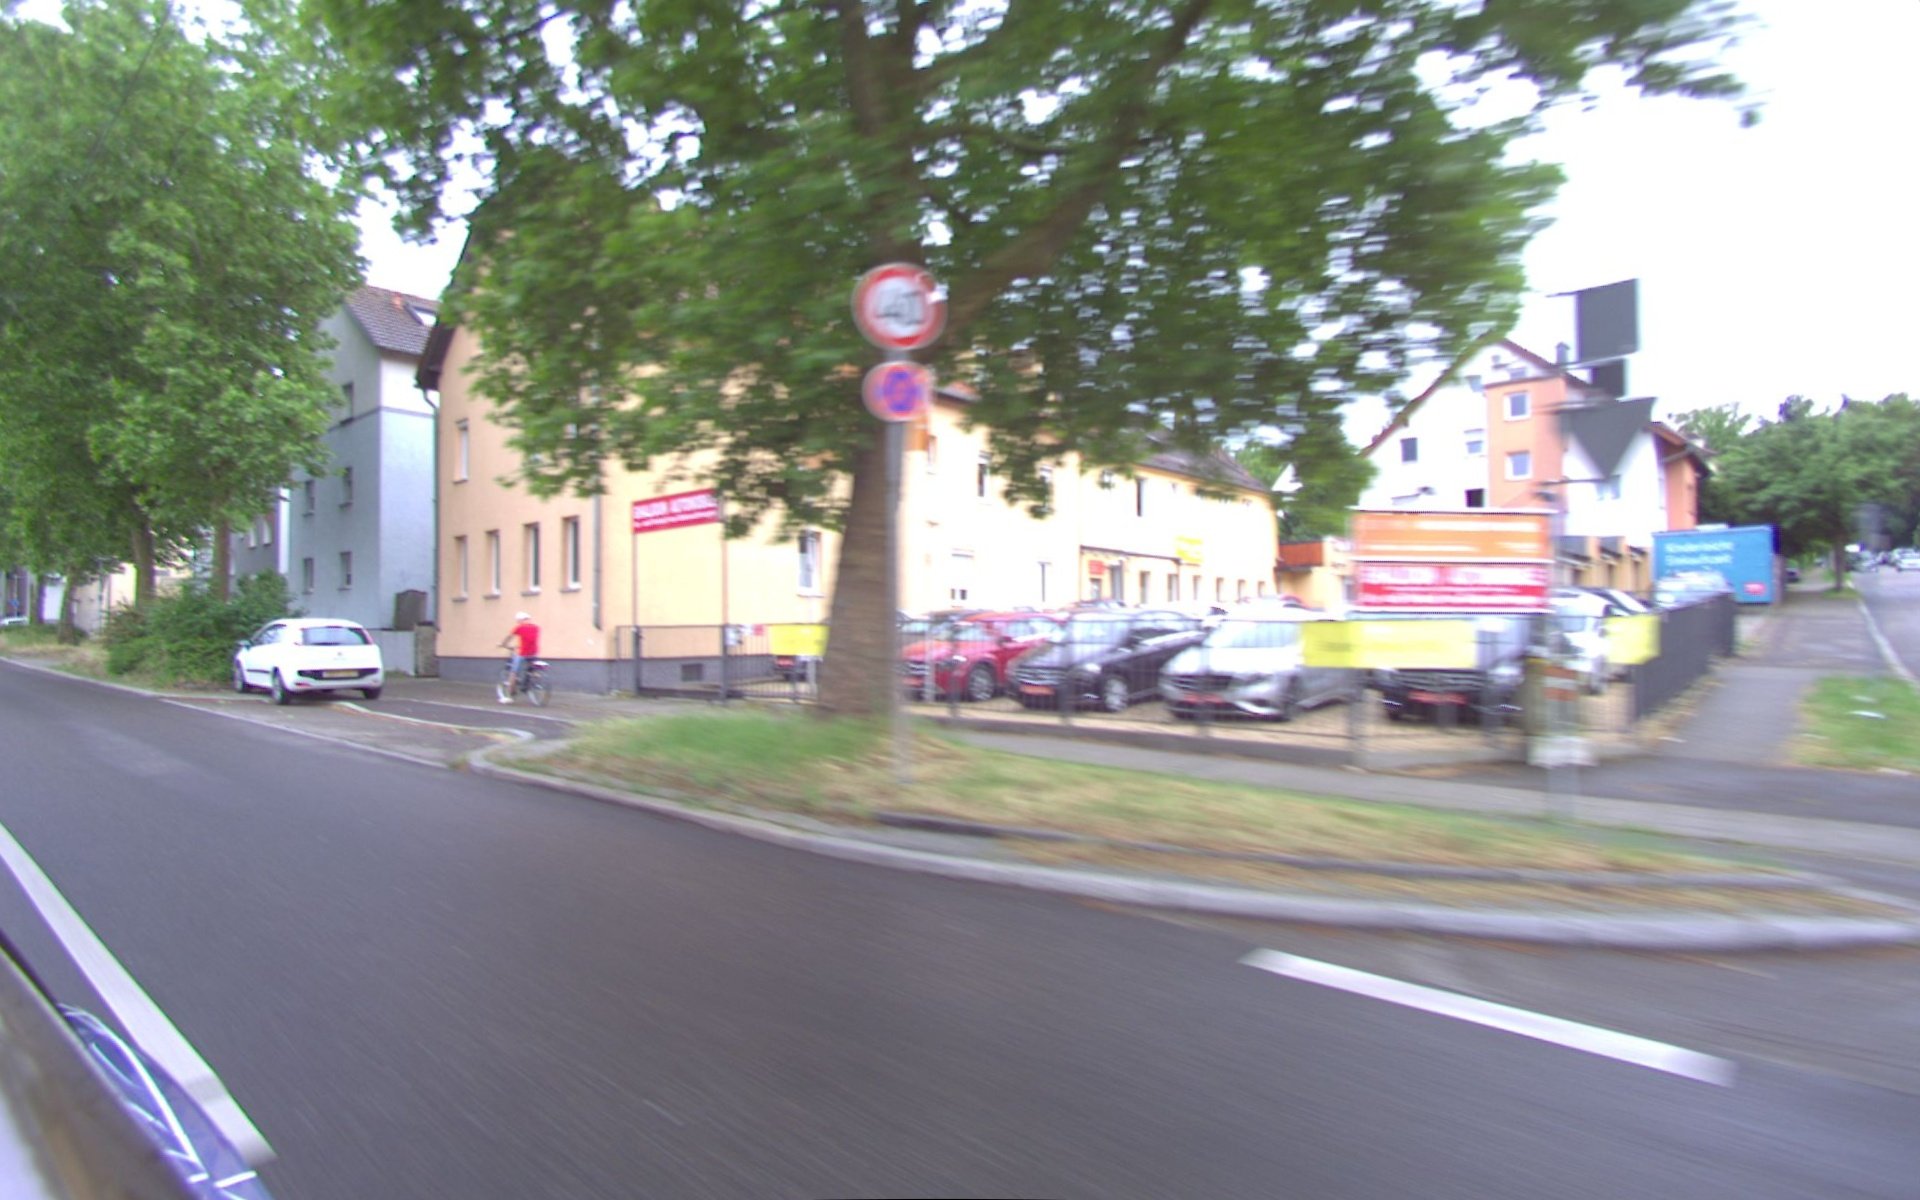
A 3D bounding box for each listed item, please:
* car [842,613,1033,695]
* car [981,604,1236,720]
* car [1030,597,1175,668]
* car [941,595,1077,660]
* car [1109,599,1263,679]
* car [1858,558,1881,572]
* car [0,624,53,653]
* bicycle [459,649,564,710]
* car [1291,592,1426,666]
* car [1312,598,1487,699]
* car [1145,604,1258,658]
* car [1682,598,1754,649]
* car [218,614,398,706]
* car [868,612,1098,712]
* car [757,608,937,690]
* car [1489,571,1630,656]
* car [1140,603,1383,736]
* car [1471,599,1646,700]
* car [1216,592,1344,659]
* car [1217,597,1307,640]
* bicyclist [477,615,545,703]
[{"bbox_3d":[-0.410,1.077,21.723,1.886,1.475,3.943,-1,0,43],"label":"car"},{"bbox_3d":[2.506,0.898,16.432,2.001,1.550,4.159,-2,0,45],"label":"car"},{"bbox_3d":[3.834,0.790,26.808,1.887,1.696,3.943,0,1,43],"label":"car"},{"bbox_3d":[1.433,0.725,28.478,1.736,1.626,3.807,-1,0,43],"label":"car"},{"bbox_3d":[5.458,0.860,24.174,1.887,1.696,3.943,0,1,43],"label":"car"},{"bbox_3d":[70.081,-2.693,78.005,1.213,1.071,2.361,0,1,40],"label":"car"},{"bbox_3d":[-48.783,1.969,52.586,4.533,1.336,1.738,-1,0,38],"label":"car"},{"bbox_3d":[-8.367,1.462,18.832,2.256,1.003,0.550,0,1,30],"label":"bicycle"},{"bbox_3d":[10.173,0.652,25.671,1.887,1.696,3.943,0,1,43],"label":"car"},{"bbox_3d":[8.277,0.803,18.891,1.998,1.665,3.947,0,0,40],"label":"car"},{"bbox_3d":[7.390,0.895,30.781,1.704,1.462,3.762,0,1,43],"label":"car"},{"bbox_3d":[18.798,0.548,25.173,1.348,1.071,2.573,0,3,35],"label":"car"},{"bbox_3d":[-12.598,1.085,19.461,4.349,1.563,1.767,-2,-2,41],"label":"car"},{"bbox_3d":[0.508,1.032,18.367,1.958,1.509,4.053,-2,0,43],"label":"car"},{"bbox_3d":[-2.574,1.071,23.639,1.782,1.626,3.943,-1,0,43],"label":"car"},{"bbox_3d":[13.262,0.243,22.304,1.887,1.696,3.943,0,1,43],"label":"car"},{"bbox_3d":[4.556,0.871,14.891,1.981,1.550,4.165,0,1,39],"label":"car"},{"bbox_3d":[10.417,0.742,17.475,1.998,1.508,4.125,0,0,39],"label":"car"},{"bbox_3d":[8.933,0.633,28.077,1.887,1.696,3.943,0,1,43],"label":"car"},{"bbox_3d":[10.182,0.585,34.008,1.584,1.363,3.388,0,1,43],"label":"car"},{"bbox_3d":[-8.329,1.070,18.777,0.813,1.564,0.827,0,1,29],"label":"bicyclist"}]
